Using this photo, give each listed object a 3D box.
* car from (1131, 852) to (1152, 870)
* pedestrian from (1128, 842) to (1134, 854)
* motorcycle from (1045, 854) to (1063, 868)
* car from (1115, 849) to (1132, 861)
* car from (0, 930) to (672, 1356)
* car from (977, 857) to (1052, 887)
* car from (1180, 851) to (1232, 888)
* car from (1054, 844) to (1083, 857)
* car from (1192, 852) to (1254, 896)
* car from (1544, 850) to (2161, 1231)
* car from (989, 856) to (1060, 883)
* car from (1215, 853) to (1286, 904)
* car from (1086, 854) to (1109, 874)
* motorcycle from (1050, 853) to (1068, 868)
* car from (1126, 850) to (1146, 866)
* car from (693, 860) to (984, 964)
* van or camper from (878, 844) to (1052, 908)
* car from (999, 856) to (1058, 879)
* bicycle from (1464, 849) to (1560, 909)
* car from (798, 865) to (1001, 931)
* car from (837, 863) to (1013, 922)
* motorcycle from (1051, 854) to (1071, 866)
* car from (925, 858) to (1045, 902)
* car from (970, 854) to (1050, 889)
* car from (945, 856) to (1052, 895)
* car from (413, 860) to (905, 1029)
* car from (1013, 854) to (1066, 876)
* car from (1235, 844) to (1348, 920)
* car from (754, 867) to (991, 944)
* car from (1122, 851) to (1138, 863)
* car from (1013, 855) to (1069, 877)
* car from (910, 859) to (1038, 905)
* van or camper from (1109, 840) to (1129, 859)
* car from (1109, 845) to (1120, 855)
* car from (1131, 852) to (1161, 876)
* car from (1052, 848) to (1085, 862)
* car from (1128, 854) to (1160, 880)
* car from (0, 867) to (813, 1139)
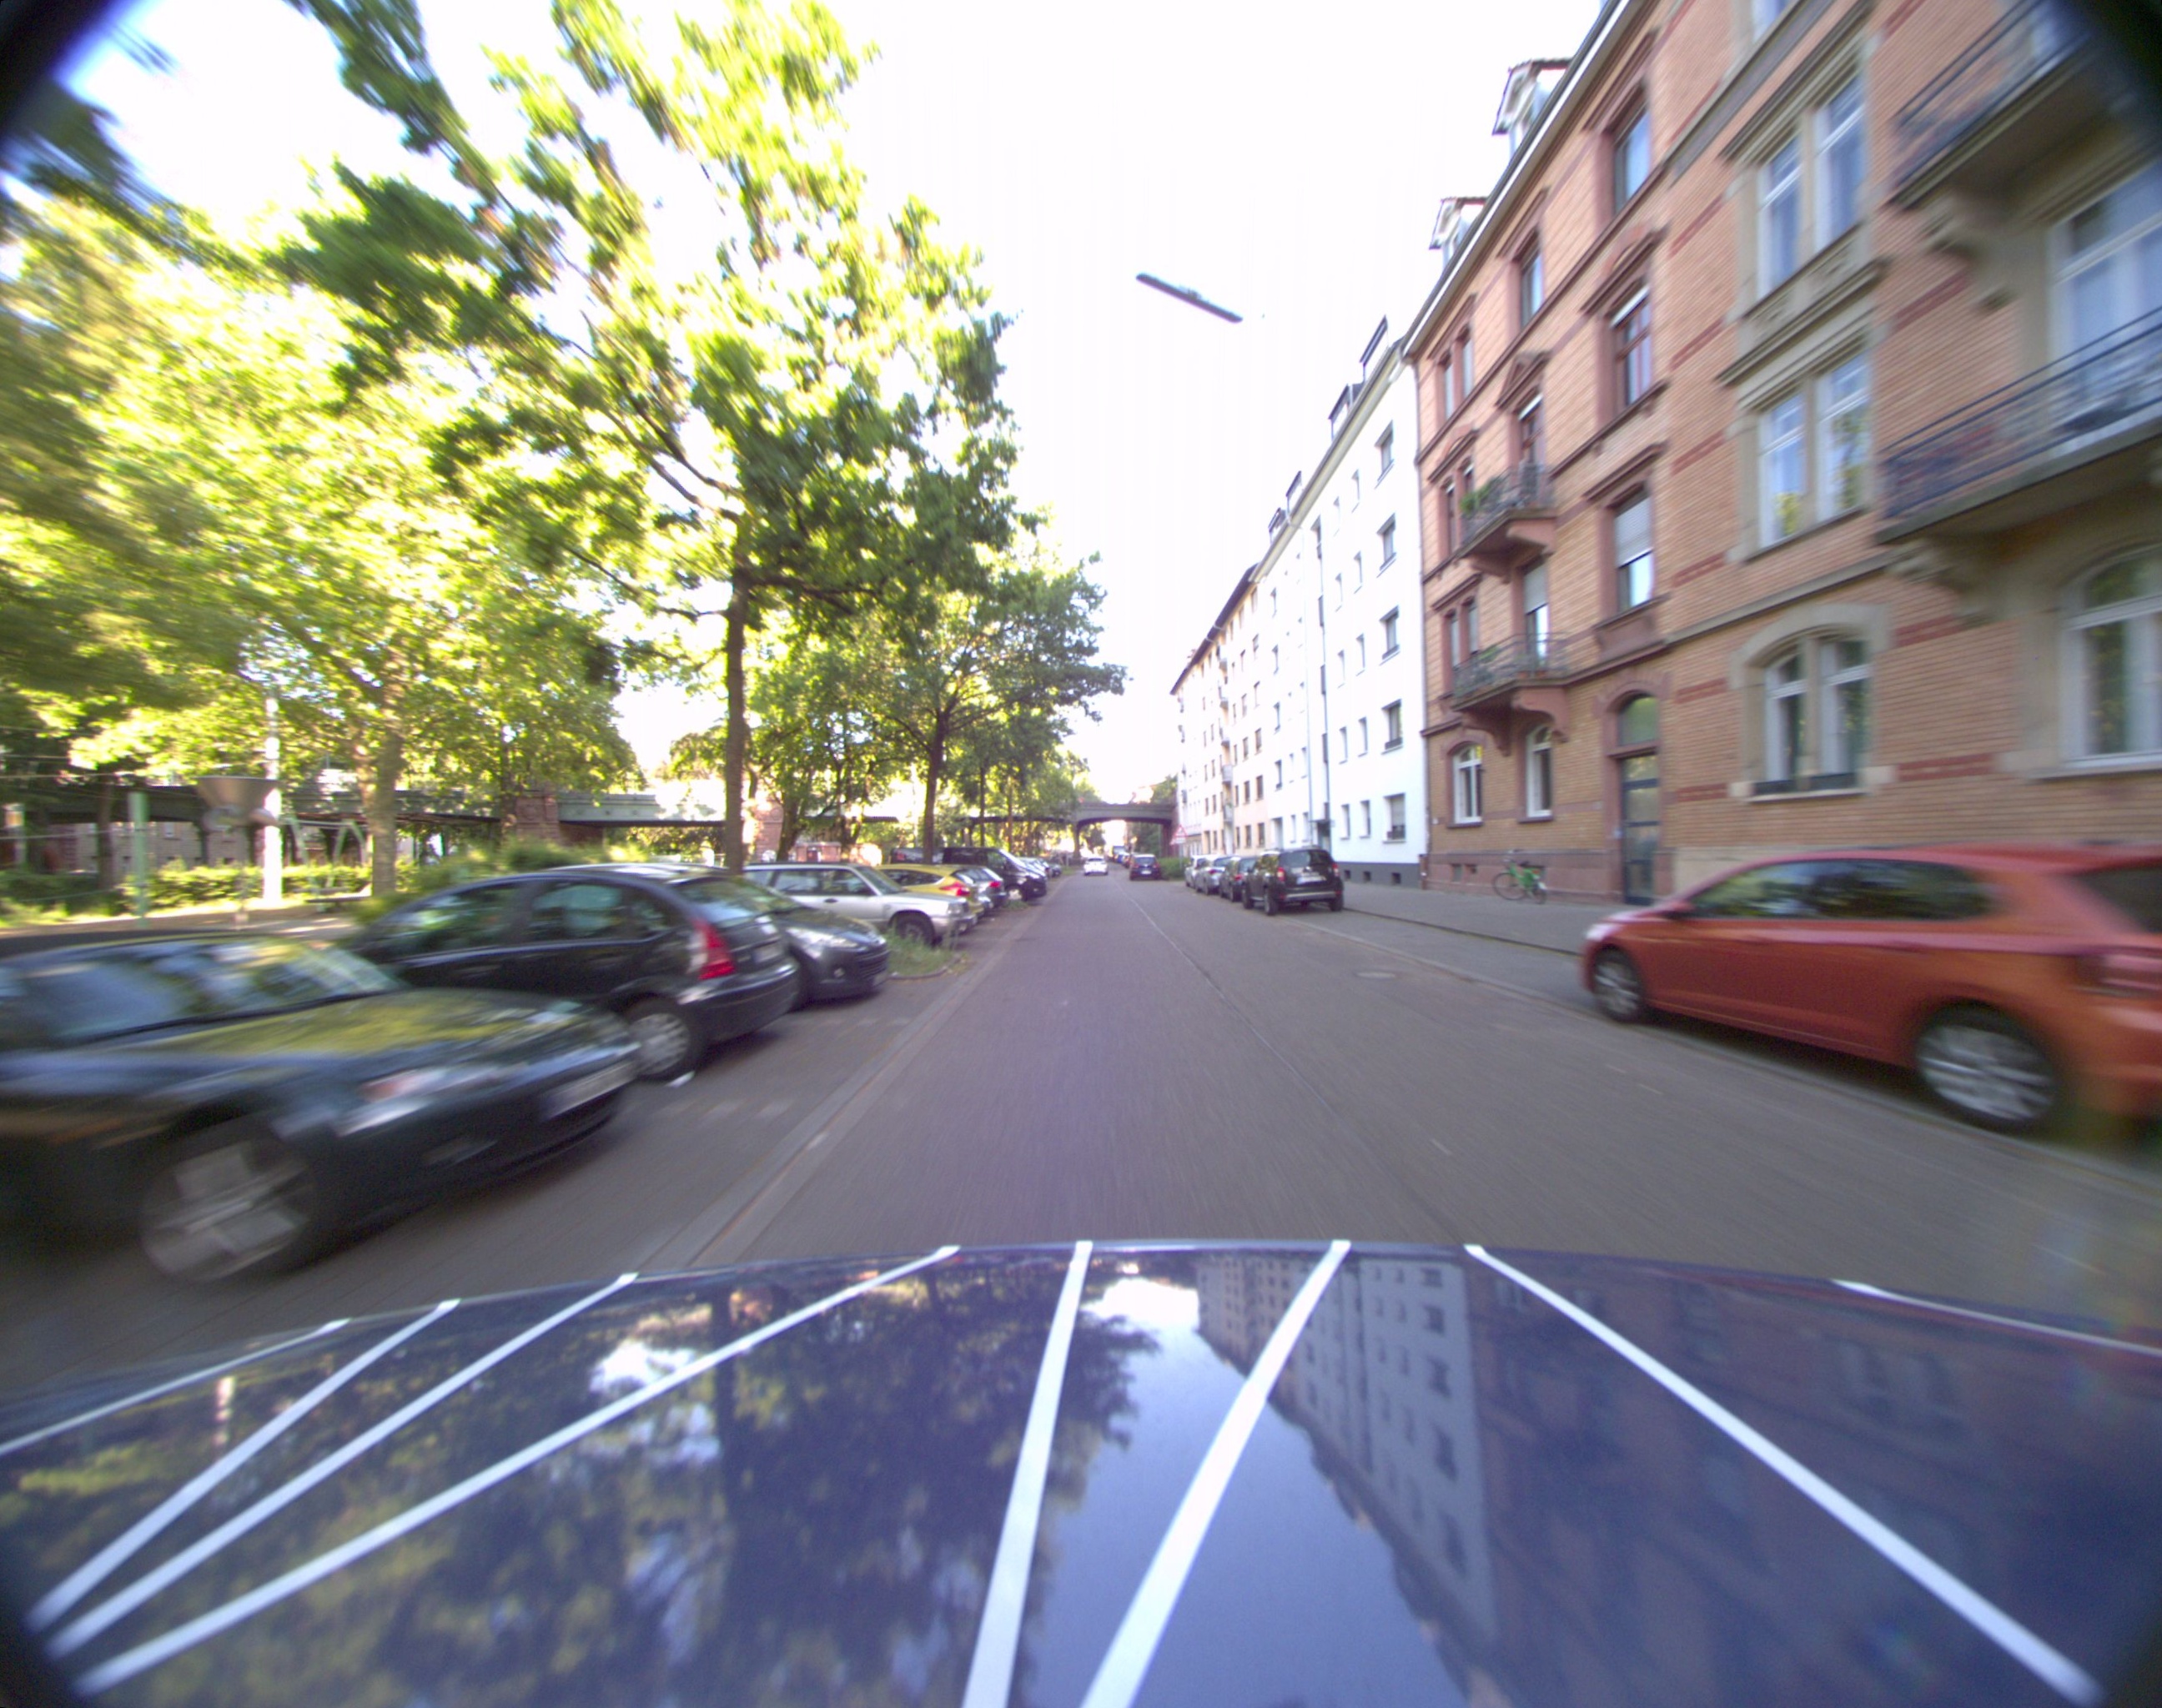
[{"bbox_3d":[5.324,0.620,67.449,1.640,1.458,4.000,1,1,2],"label":"car"},{"bbox_3d":[8.235,-0.959,125.168,0.639,1.904,1.046,-3,2,-5],"label":"pedestrian"},{"bbox_3d":[-2.718,0.709,76.725,1.601,1.400,0.713,-2,2,21],"label":"motorcycle"},{"bbox_3d":[5.911,0.126,105.815,1.749,1.458,4.373,-3,2,-3],"label":"car"},{"bbox_3d":[-4.260,1.097,3.453,3.852,1.271,1.690,-1,1,0],"label":"car"},{"bbox_3d":[-3.548,0.937,40.869,3.790,1.465,1.664,-1,2,3],"label":"car"},{"bbox_3d":[5.693,0.664,35.006,1.672,1.499,4.000,-5,0,1],"label":"car"},{"bbox_3d":[-2.037,-0.575,123.808,4.683,1.914,1.871,0,2,-1],"label":"car"},{"bbox_3d":[5.502,0.728,29.906,1.672,1.463,4.284,-5,0,2],"label":"car"},{"bbox_3d":[5.255,0.766,5.069,1.758,1.455,3.999,-4,0,-1],"label":"car"},{"bbox_3d":[-3.196,0.882,43.573,3.789,1.439,1.664,-1,2,6],"label":"car"},{"bbox_3d":[5.556,0.751,25.343,1.619,1.443,4.001,-4,0,3],"label":"car"},{"bbox_3d":[1.241,0.736,57.189,1.672,1.422,4.001,1,-1,2],"label":"car"},{"bbox_3d":[-2.290,0.655,77.771,1.601,1.400,0.713,-2,2,21],"label":"motorcycle"},{"bbox_3d":[5.810,0.399,80.302,1.721,1.698,4.321,-1,1,-1],"label":"car"},{"bbox_3d":[-4.035,0.952,13.194,4.410,1.582,1.837,-1,1,0],"label":"car"},{"bbox_3d":[-3.797,0.722,25.529,5.426,2.015,2.030,-1,0,3],"label":"van or camper"},{"bbox_3d":[-3.484,0.879,50.676,3.791,1.393,1.664,-1,2,1],"label":"car"},{"bbox_3d":[9.539,0.523,16.945,0.738,1.199,2.514,-3,0,2],"label":"bicycle"},{"bbox_3d":[-4.279,1.035,18.397,4.409,1.432,1.838,-1,1,3],"label":"car"},{"bbox_3d":[-4.167,1.028,20.795,4.410,1.432,1.837,-1,1,0],"label":"car"},{"bbox_3d":[-2.168,0.649,82.065,1.839,1.126,0.849,-4,2,-22],"label":"motorcycle"},{"bbox_3d":[-3.720,0.984,29.841,4.409,1.568,1.664,-1,2,3],"label":"car"},{"bbox_3d":[-3.509,0.862,38.231,3.791,1.637,1.664,-1,2,2],"label":"car"},{"bbox_3d":[-3.579,0.931,33.506,4.408,1.568,1.664,-1,2,6],"label":"car"},{"bbox_3d":[-4.395,0.910,8.423,4.410,1.582,1.837,-1,1,2],"label":"car"},{"bbox_3d":[-3.014,0.813,55.635,3.792,1.464,1.634,-1,2,-3],"label":"car"},{"bbox_3d":[5.361,0.654,19.916,1.756,1.696,4.200,-3,0,1],"label":"car"},{"bbox_3d":[-4.253,1.040,15.958,4.409,1.432,1.838,-1,1,3],"label":"car"},{"bbox_3d":[6.209,0.362,96.136,1.599,1.538,3.913,0,1,-2],"label":"car"},{"bbox_3d":[-2.790,0.817,53.387,3.791,1.393,1.827,-1,2,2],"label":"car"},{"bbox_3d":[-3.797,0.993,27.640,4.411,1.492,1.837,-1,2,-2],"label":"car"},{"bbox_3d":[5.599,-0.671,111.991,2.242,2.509,6.418,-3,2,-2],"label":"van or camper"},{"bbox_3d":[5.556,-0.668,126.225,1.703,1.489,4.549,0,2,3],"label":"car"},{"bbox_3d":[4.290,0.624,50.696,1.707,1.516,3.773,-1,1,1],"label":"car"},{"bbox_3d":[-1.722,0.137,106.563,4.544,1.686,1.907,-3,2,-1],"label":"car"},{"bbox_3d":[3.723,0.747,45.346,1.743,1.471,4.000,-1,0,2],"label":"car"},{"bbox_3d":[-4.595,0.959,5.826,4.412,1.582,1.837,-1,1,-4],"label":"car"}]
